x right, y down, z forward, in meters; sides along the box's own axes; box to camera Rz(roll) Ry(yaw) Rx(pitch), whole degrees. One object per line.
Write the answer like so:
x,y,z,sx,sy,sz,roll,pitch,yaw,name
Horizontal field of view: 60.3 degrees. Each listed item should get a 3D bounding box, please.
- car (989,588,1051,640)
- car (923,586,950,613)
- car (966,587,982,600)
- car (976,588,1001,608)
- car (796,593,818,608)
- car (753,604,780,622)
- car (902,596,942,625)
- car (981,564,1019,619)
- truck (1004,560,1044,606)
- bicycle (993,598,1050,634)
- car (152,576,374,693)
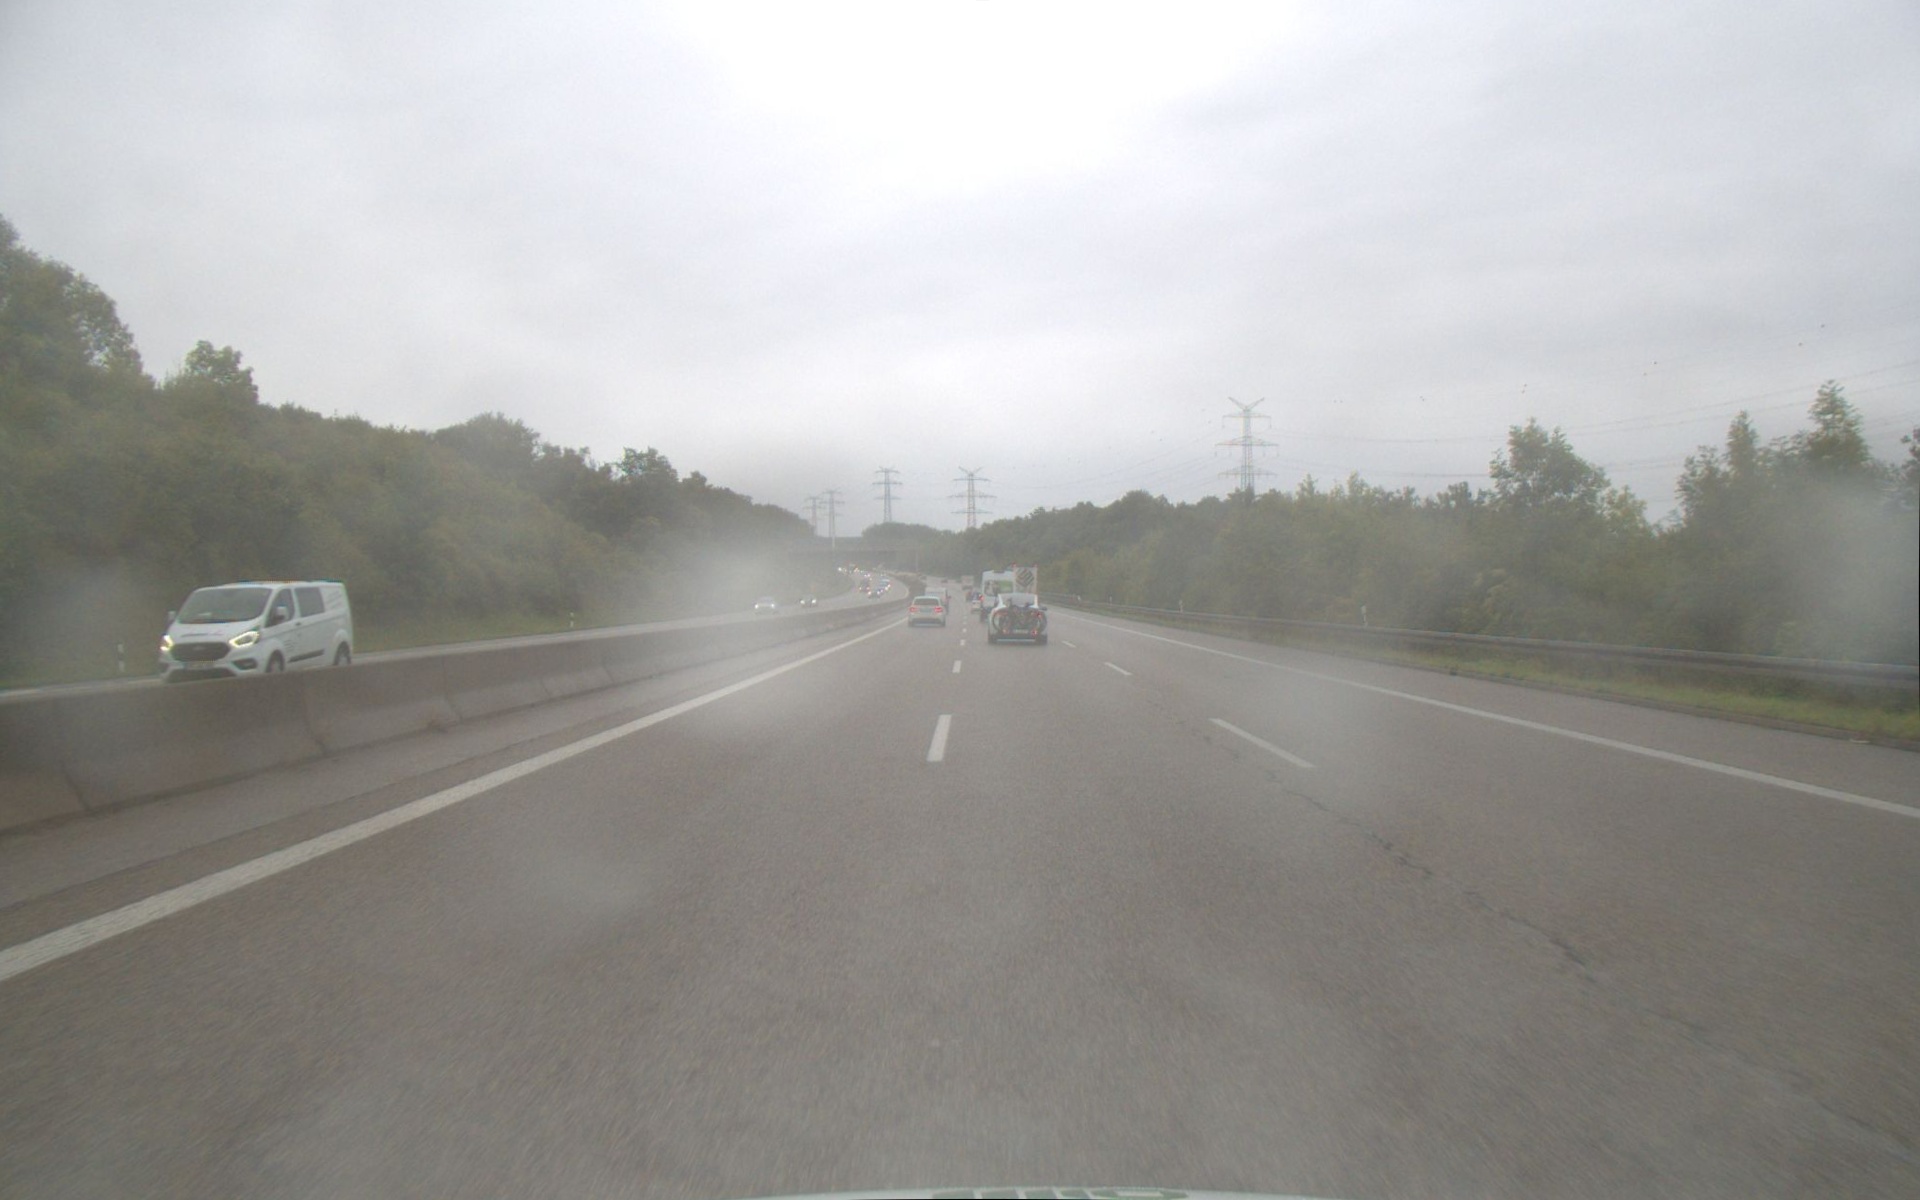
1.916,0.421,54.195,1.822,1.595,4.963,1,1,-1,car
-1.660,-0.042,115.519,1.808,1.803,3.999,1,-1,-1,car
1.795,-0.796,212.333,1.953,1.601,3.999,-1,0,-1,car
2.120,-0.187,124.249,1.819,1.447,4.000,0,1,0,car
-17.612,0.113,190.844,1.952,1.646,4.001,1,-1,2,car
-16.885,1.152,144.492,1.761,1.475,4.628,-1,0,-1,car
-1.771,0.471,78.292,1.829,1.310,3.999,-1,0,-1,car
2.188,-0.473,91.455,1.952,2.914,4.000,-1,0,1,car
6.249,-1.698,163.856,3.529,4.407,13.201,0,1,1,truck
1.907,0.496,51.251,1.718,1.109,0.913,0,-1,-2,bicycle
-13.422,0.643,32.315,1.953,2.049,5.759,1,-1,-1,car
